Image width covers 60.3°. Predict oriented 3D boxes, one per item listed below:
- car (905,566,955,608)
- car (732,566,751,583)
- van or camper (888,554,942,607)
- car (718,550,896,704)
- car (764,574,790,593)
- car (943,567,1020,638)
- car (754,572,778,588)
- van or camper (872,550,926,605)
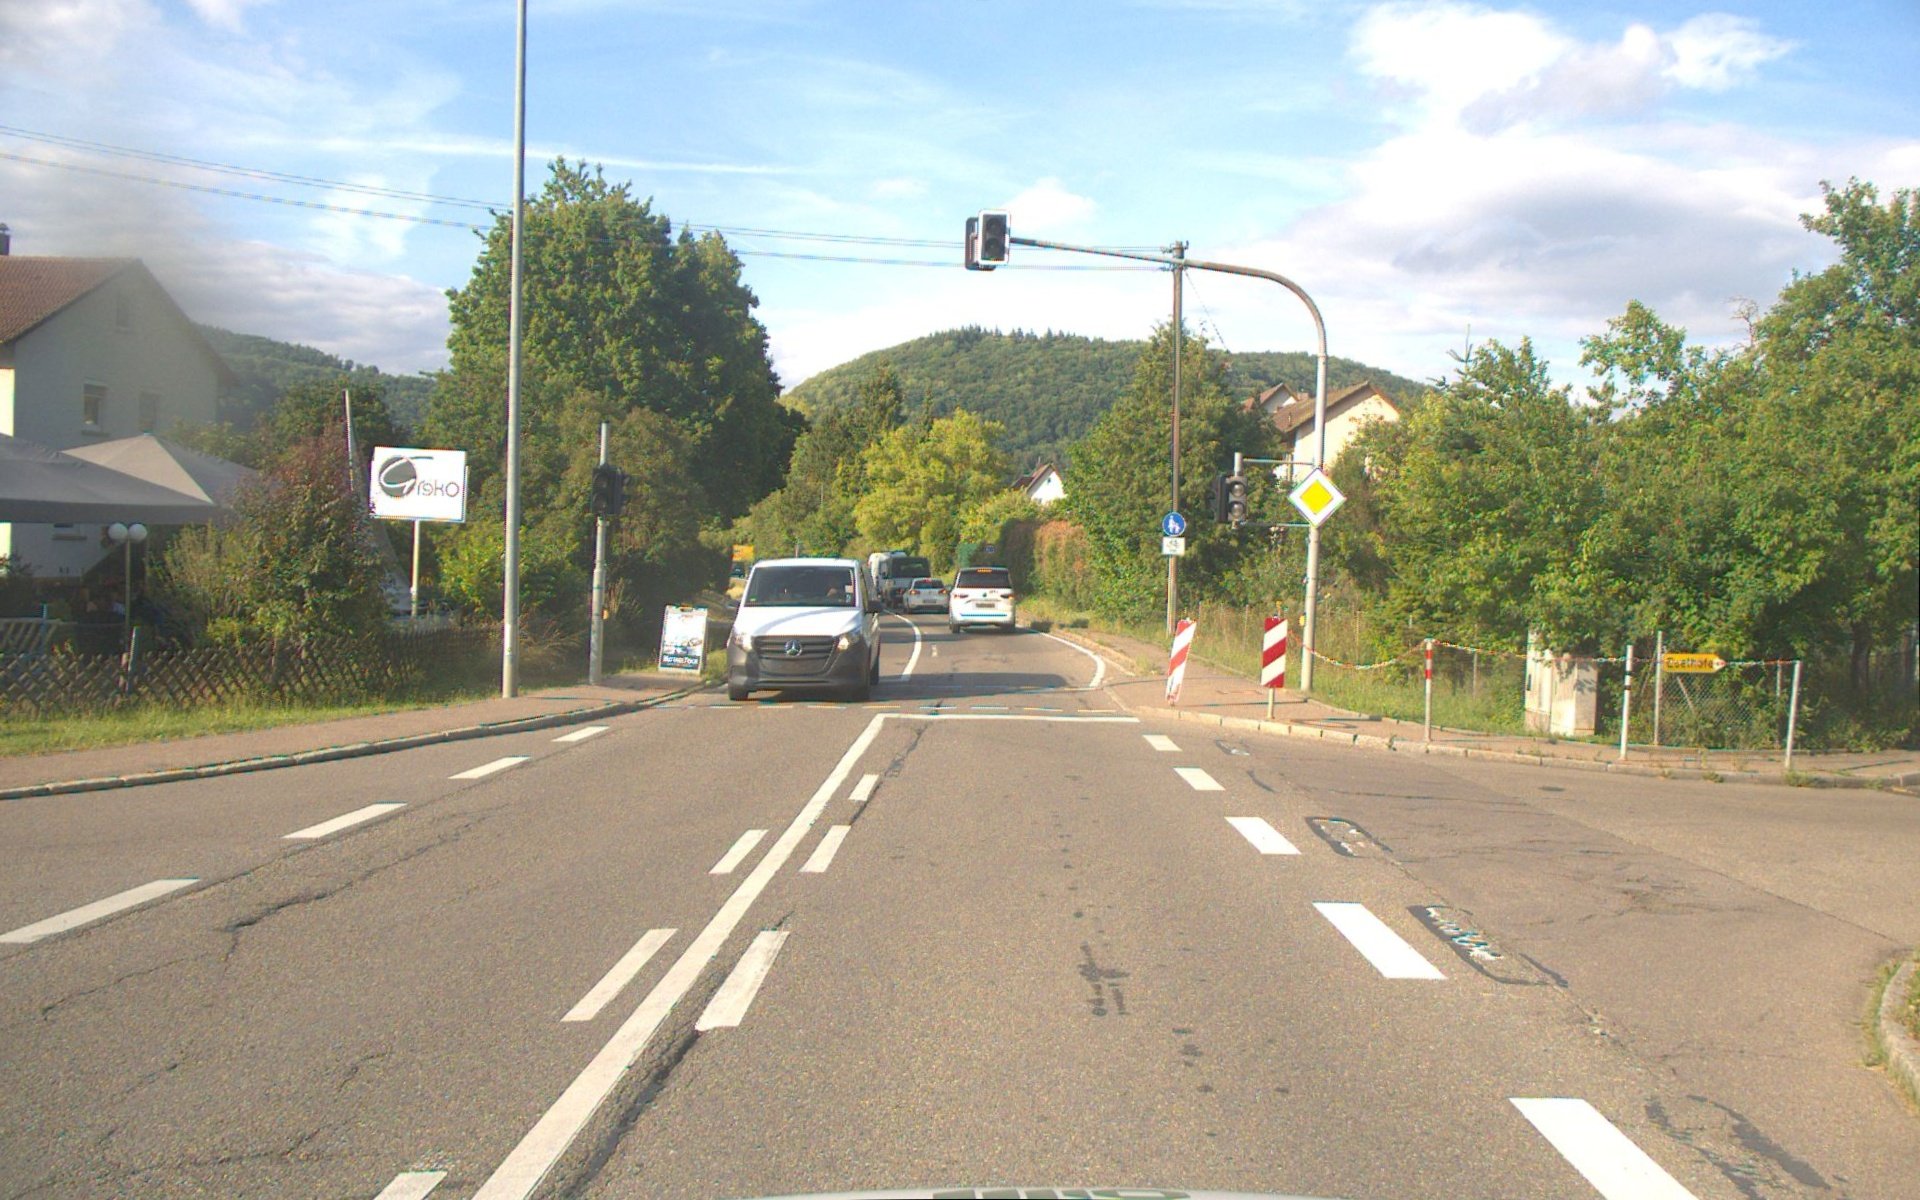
[{"bbox_3d":[-1.291,-0.557,69.544,1.954,1.713,3.998,0,1,-3],"label":"car"},{"bbox_3d":[-23.698,-2.805,179.212,1.741,1.814,3.988,0,1,-13],"label":"car"},{"bbox_3d":[-2.157,-0.929,78.192,2.138,2.426,5.363,0,1,-6],"label":"van or camper"},{"bbox_3d":[-2.044,0.284,23.595,1.952,1.937,5.254,-1,1,1],"label":"car"},{"bbox_3d":[-16.513,-1.495,148.975,1.908,1.713,3.988,0,1,-12],"label":"car"},{"bbox_3d":[0.582,0.024,49.940,1.954,1.909,4.869,2,2,-3],"label":"car"},{"bbox_3d":[-18.550,-1.941,157.999,1.908,1.449,3.988,0,1,-12],"label":"car"},{"bbox_3d":[-3.474,-1.292,92.819,2.370,2.955,6.120,0,1,-8],"label":"van or camper"}]
